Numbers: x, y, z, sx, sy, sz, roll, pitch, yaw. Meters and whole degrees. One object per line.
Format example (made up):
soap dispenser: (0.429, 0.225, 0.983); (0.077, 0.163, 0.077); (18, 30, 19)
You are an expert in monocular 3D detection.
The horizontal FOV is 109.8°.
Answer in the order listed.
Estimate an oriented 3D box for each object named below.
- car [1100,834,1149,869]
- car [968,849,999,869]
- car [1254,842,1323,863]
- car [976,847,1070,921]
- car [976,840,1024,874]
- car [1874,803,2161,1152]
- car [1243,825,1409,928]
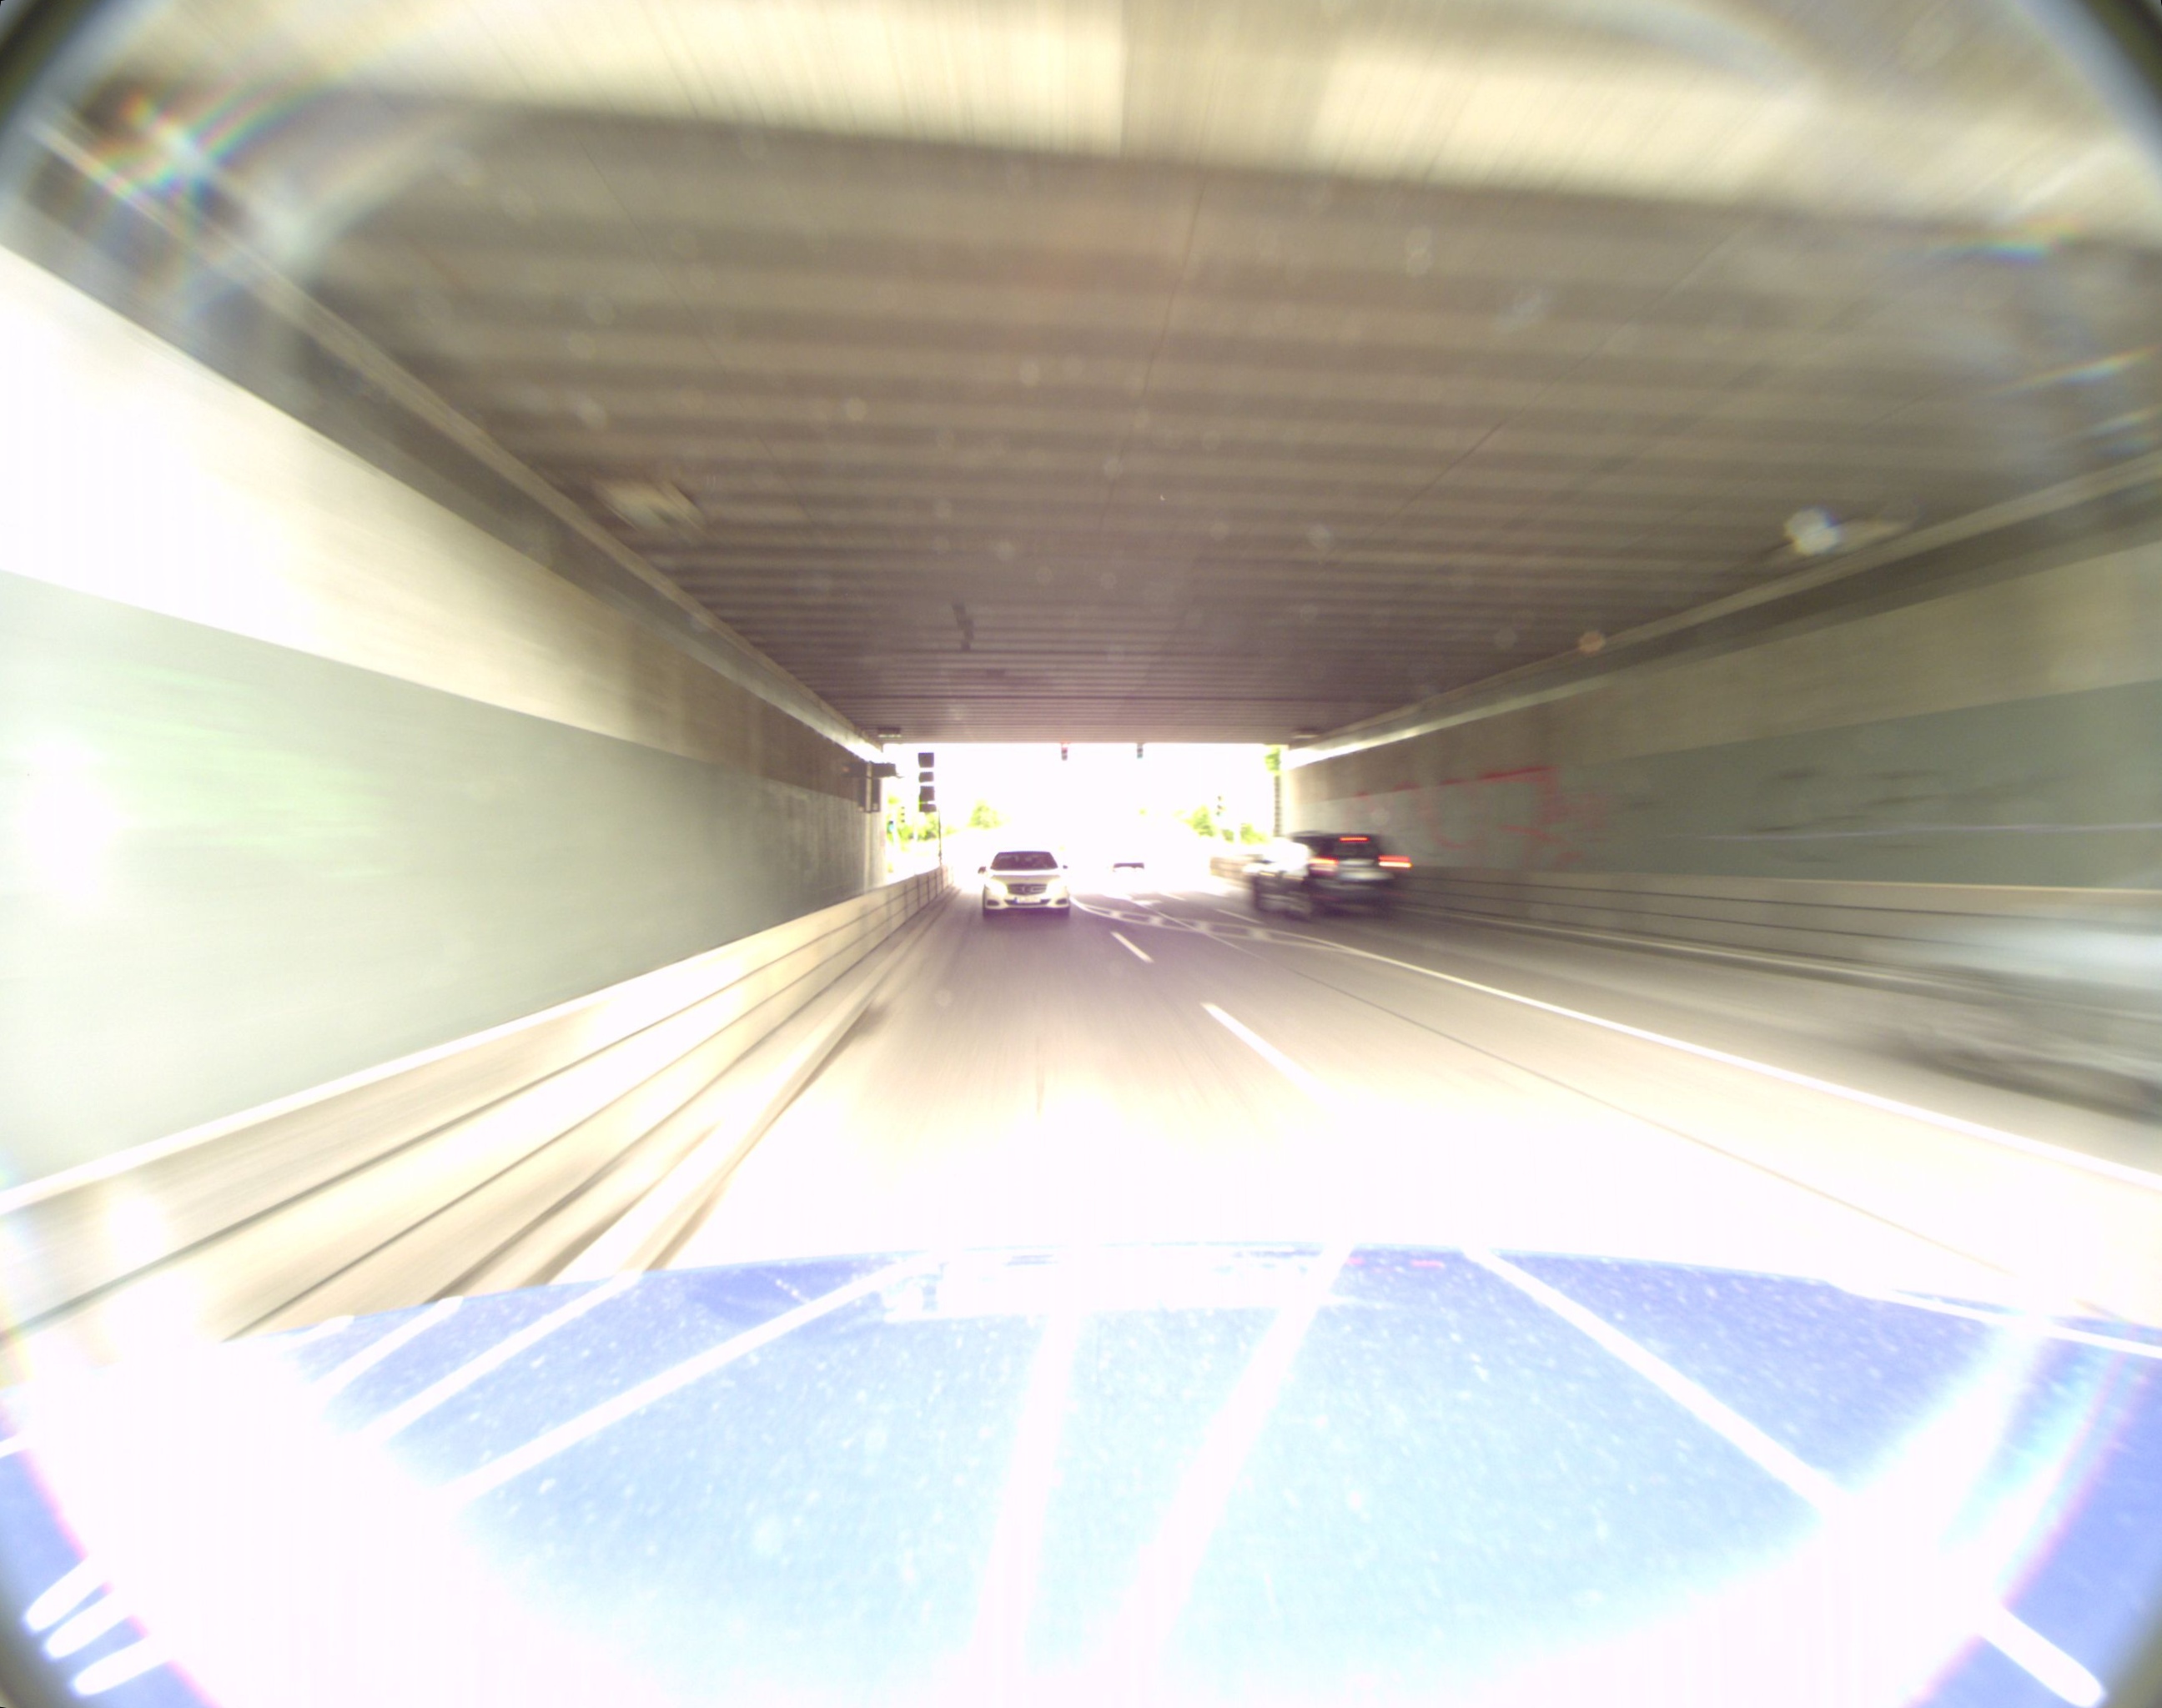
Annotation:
car: (2.197, -0.172, 39.490); (1.789, 1.651, 4.105); (-2, 1, -7)
car: (-7.989, 0.409, 61.991); (1.582, 1.548, 3.010); (-3, 0, -26)
car: (14.656, -0.148, 53.652); (4.424, 1.331, 1.995); (-2, 3, -23)
car: (-1.218, 0.589, 17.569); (1.887, 1.414, 3.998); (-1, 2, -1)
car: (-4.167, 0.162, 38.501); (1.825, 1.535, 3.721); (-3, 0, -15)
car: (5.850, 0.538, 2.666); (1.768, 1.583, 3.997); (-2, 1, -6)
car: (4.639, 0.327, 14.972); (1.692, 1.699, 3.786); (-3, 2, -6)
